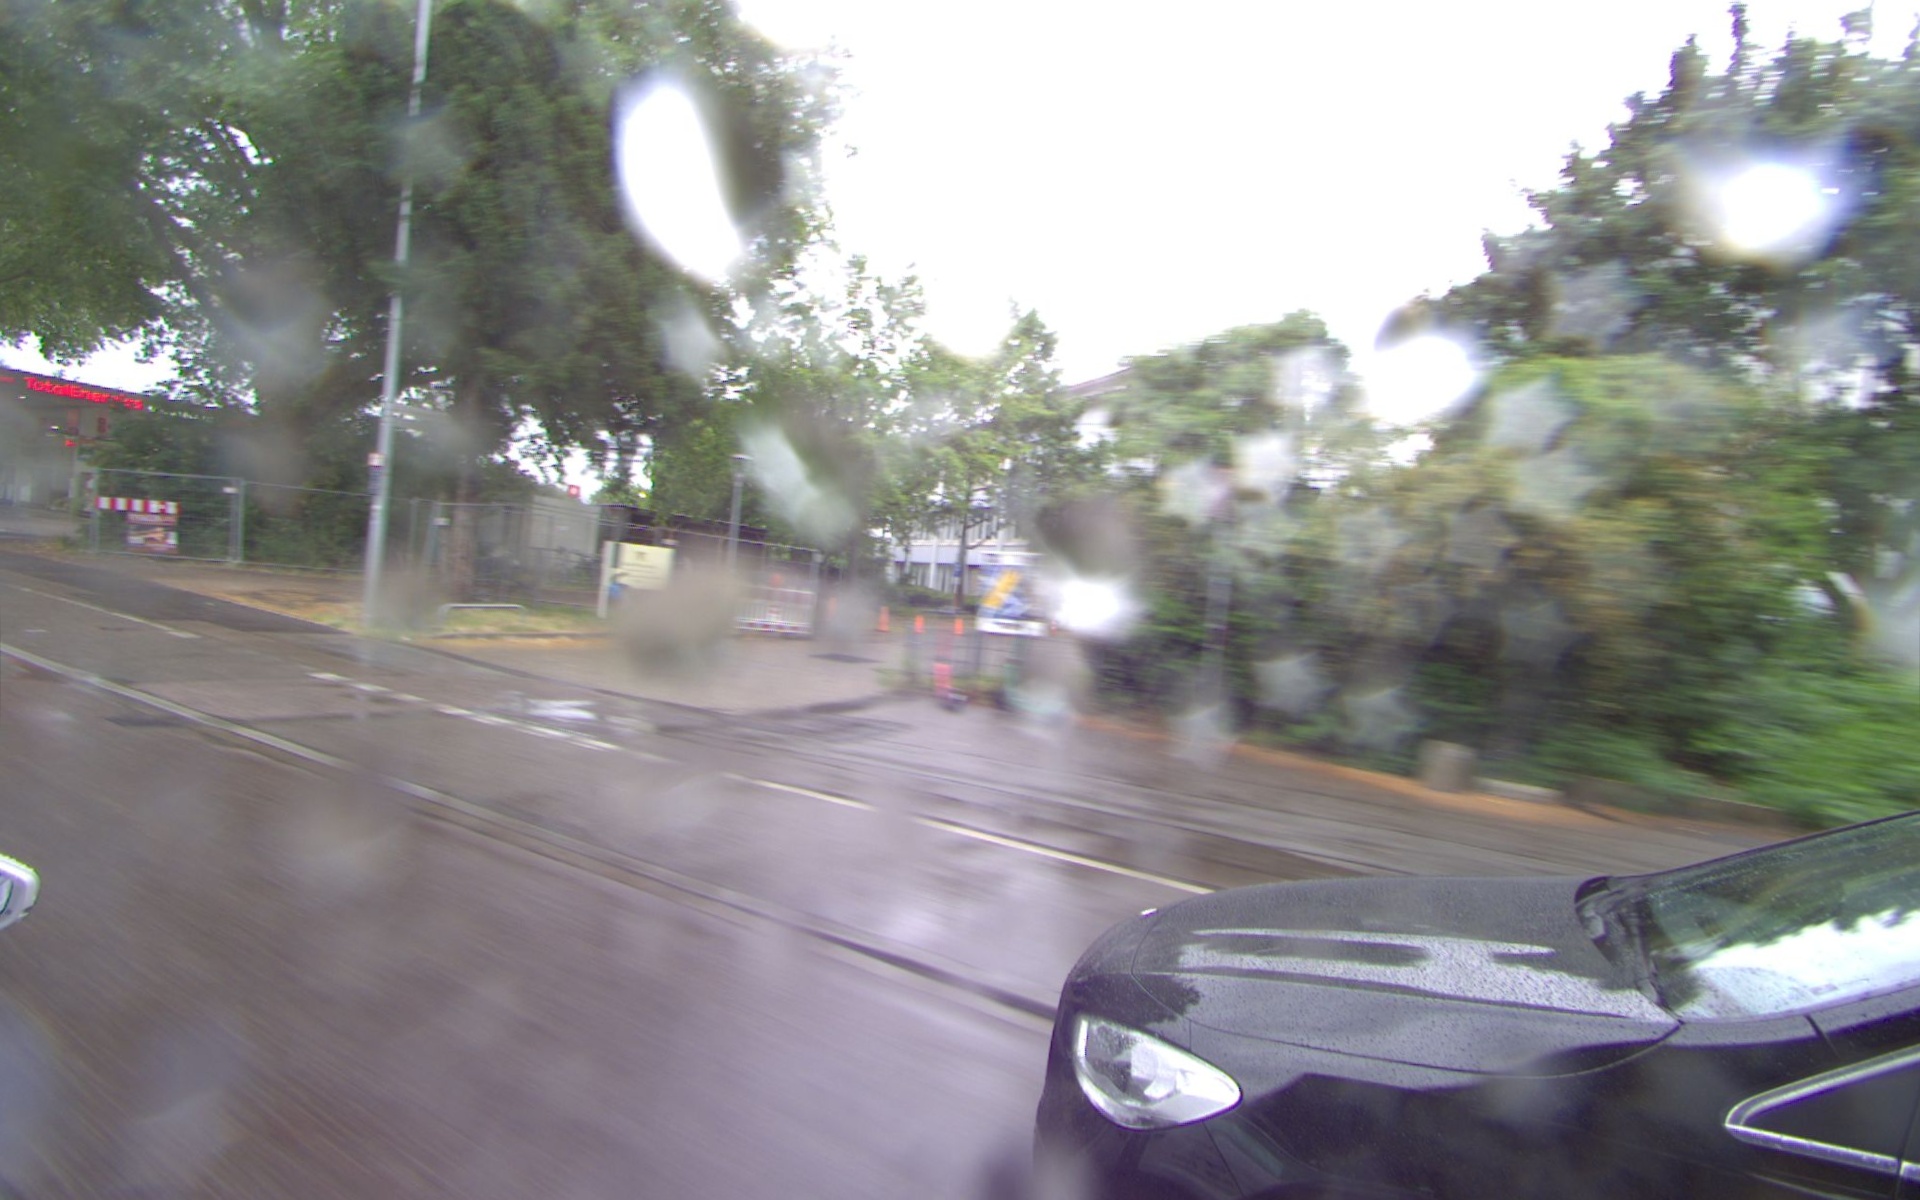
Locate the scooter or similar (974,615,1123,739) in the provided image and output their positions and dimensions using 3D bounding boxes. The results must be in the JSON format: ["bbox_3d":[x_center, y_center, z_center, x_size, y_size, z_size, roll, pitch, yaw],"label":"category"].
[{"bbox_3d":[0.992,0.847,11.564,0.766,1.195,1.529,2,4,-41],"label":"scooter or similar"}]

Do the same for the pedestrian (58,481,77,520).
[{"bbox_3d":[-41.291,-4.606,46.559,0.551,1.748,0.717,4,3,-40],"label":"pedestrian"}]

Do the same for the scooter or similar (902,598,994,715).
[{"bbox_3d":[-0.184,0.670,12.660,0.699,1.329,1.551,1,2,-18],"label":"scooter or similar"}]

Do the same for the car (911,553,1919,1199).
[{"bbox_3d":[2.134,0.917,1.642,4.019,1.543,1.872,6,1,31],"label":"car"}]
